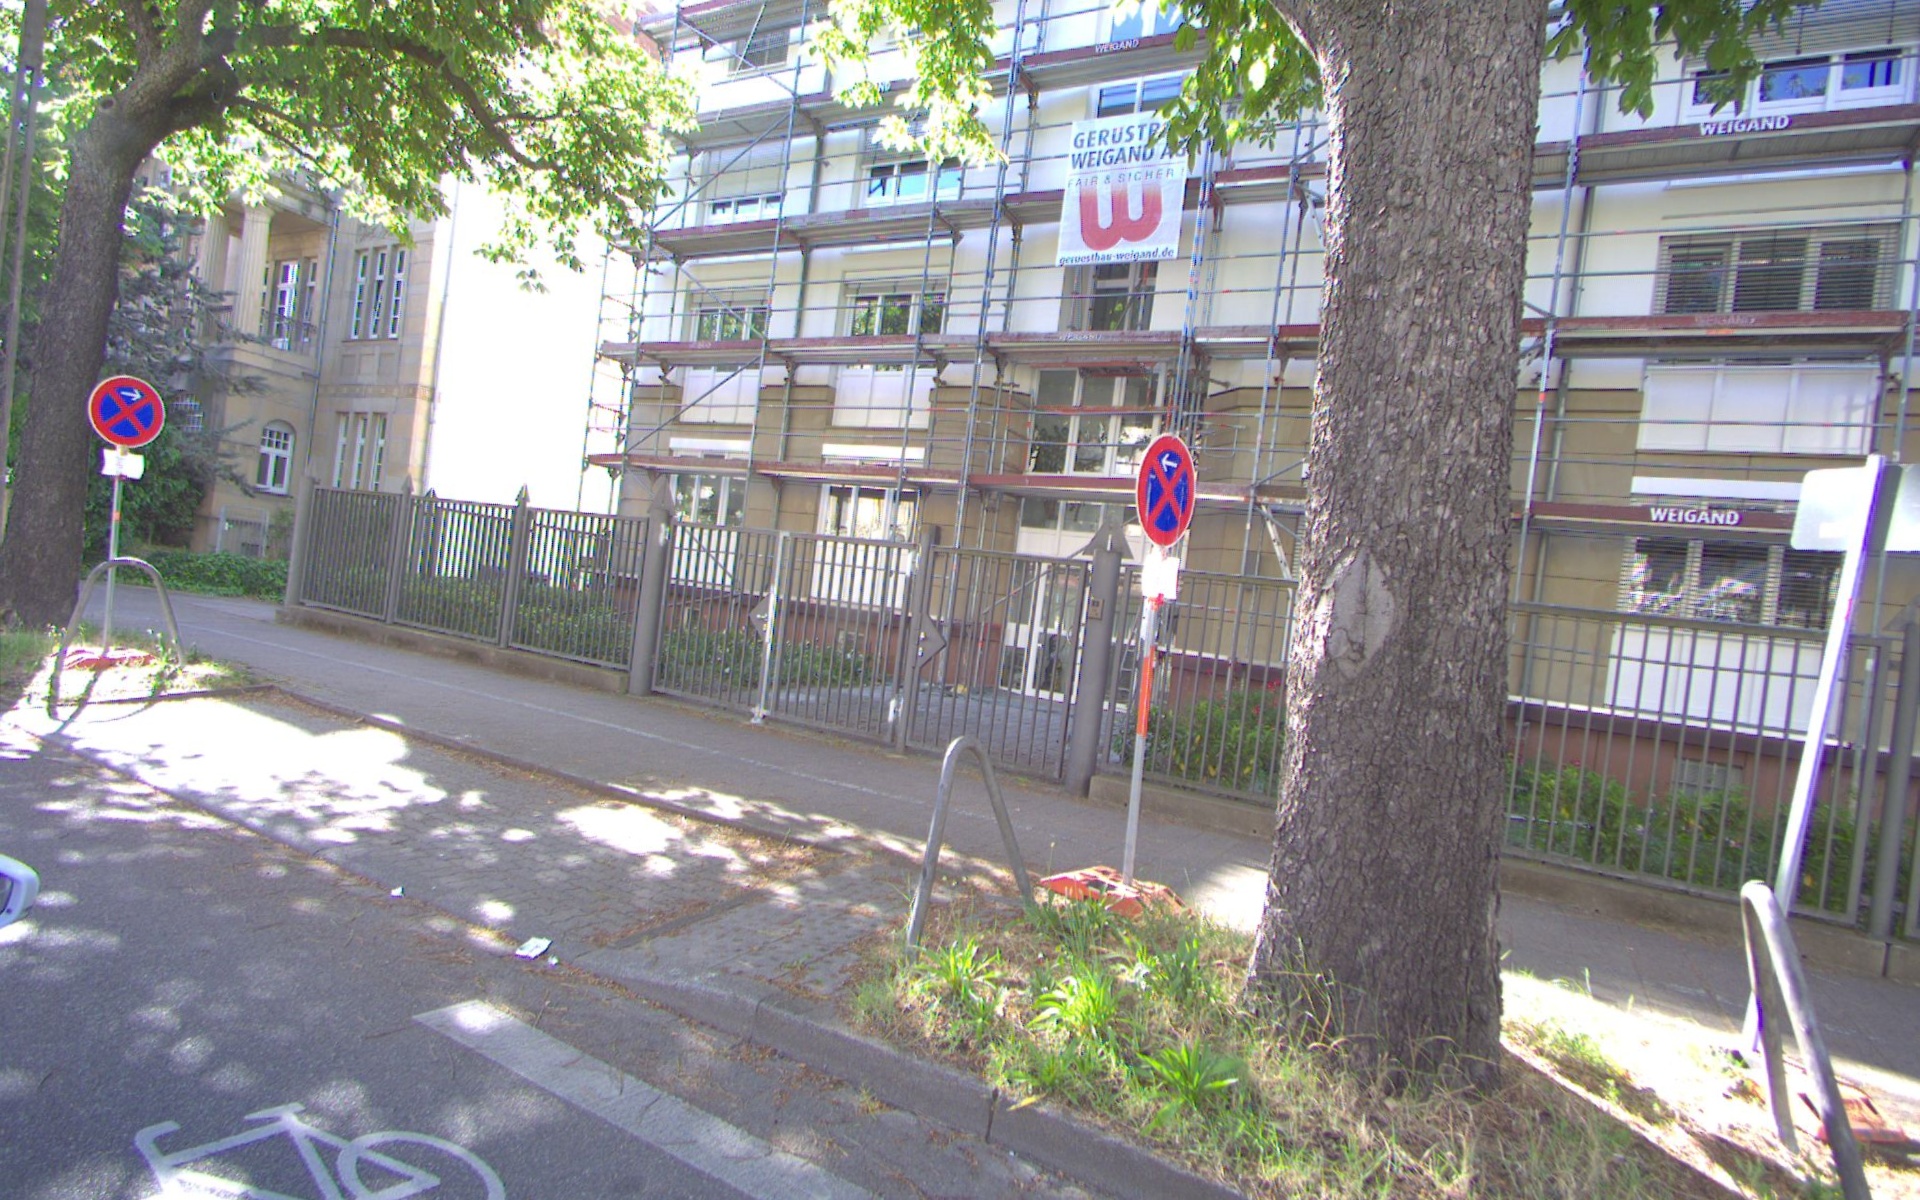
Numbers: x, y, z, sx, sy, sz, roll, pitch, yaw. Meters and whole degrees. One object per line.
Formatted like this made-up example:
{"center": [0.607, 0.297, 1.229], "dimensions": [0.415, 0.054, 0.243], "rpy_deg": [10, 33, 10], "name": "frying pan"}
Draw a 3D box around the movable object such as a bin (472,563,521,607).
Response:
{"center": [-11.719, -0.370, 25.442], "dimensions": [0.637, 0.966, 0.835], "rpy_deg": [6, -2, 30], "name": "movable object such as a bin"}
